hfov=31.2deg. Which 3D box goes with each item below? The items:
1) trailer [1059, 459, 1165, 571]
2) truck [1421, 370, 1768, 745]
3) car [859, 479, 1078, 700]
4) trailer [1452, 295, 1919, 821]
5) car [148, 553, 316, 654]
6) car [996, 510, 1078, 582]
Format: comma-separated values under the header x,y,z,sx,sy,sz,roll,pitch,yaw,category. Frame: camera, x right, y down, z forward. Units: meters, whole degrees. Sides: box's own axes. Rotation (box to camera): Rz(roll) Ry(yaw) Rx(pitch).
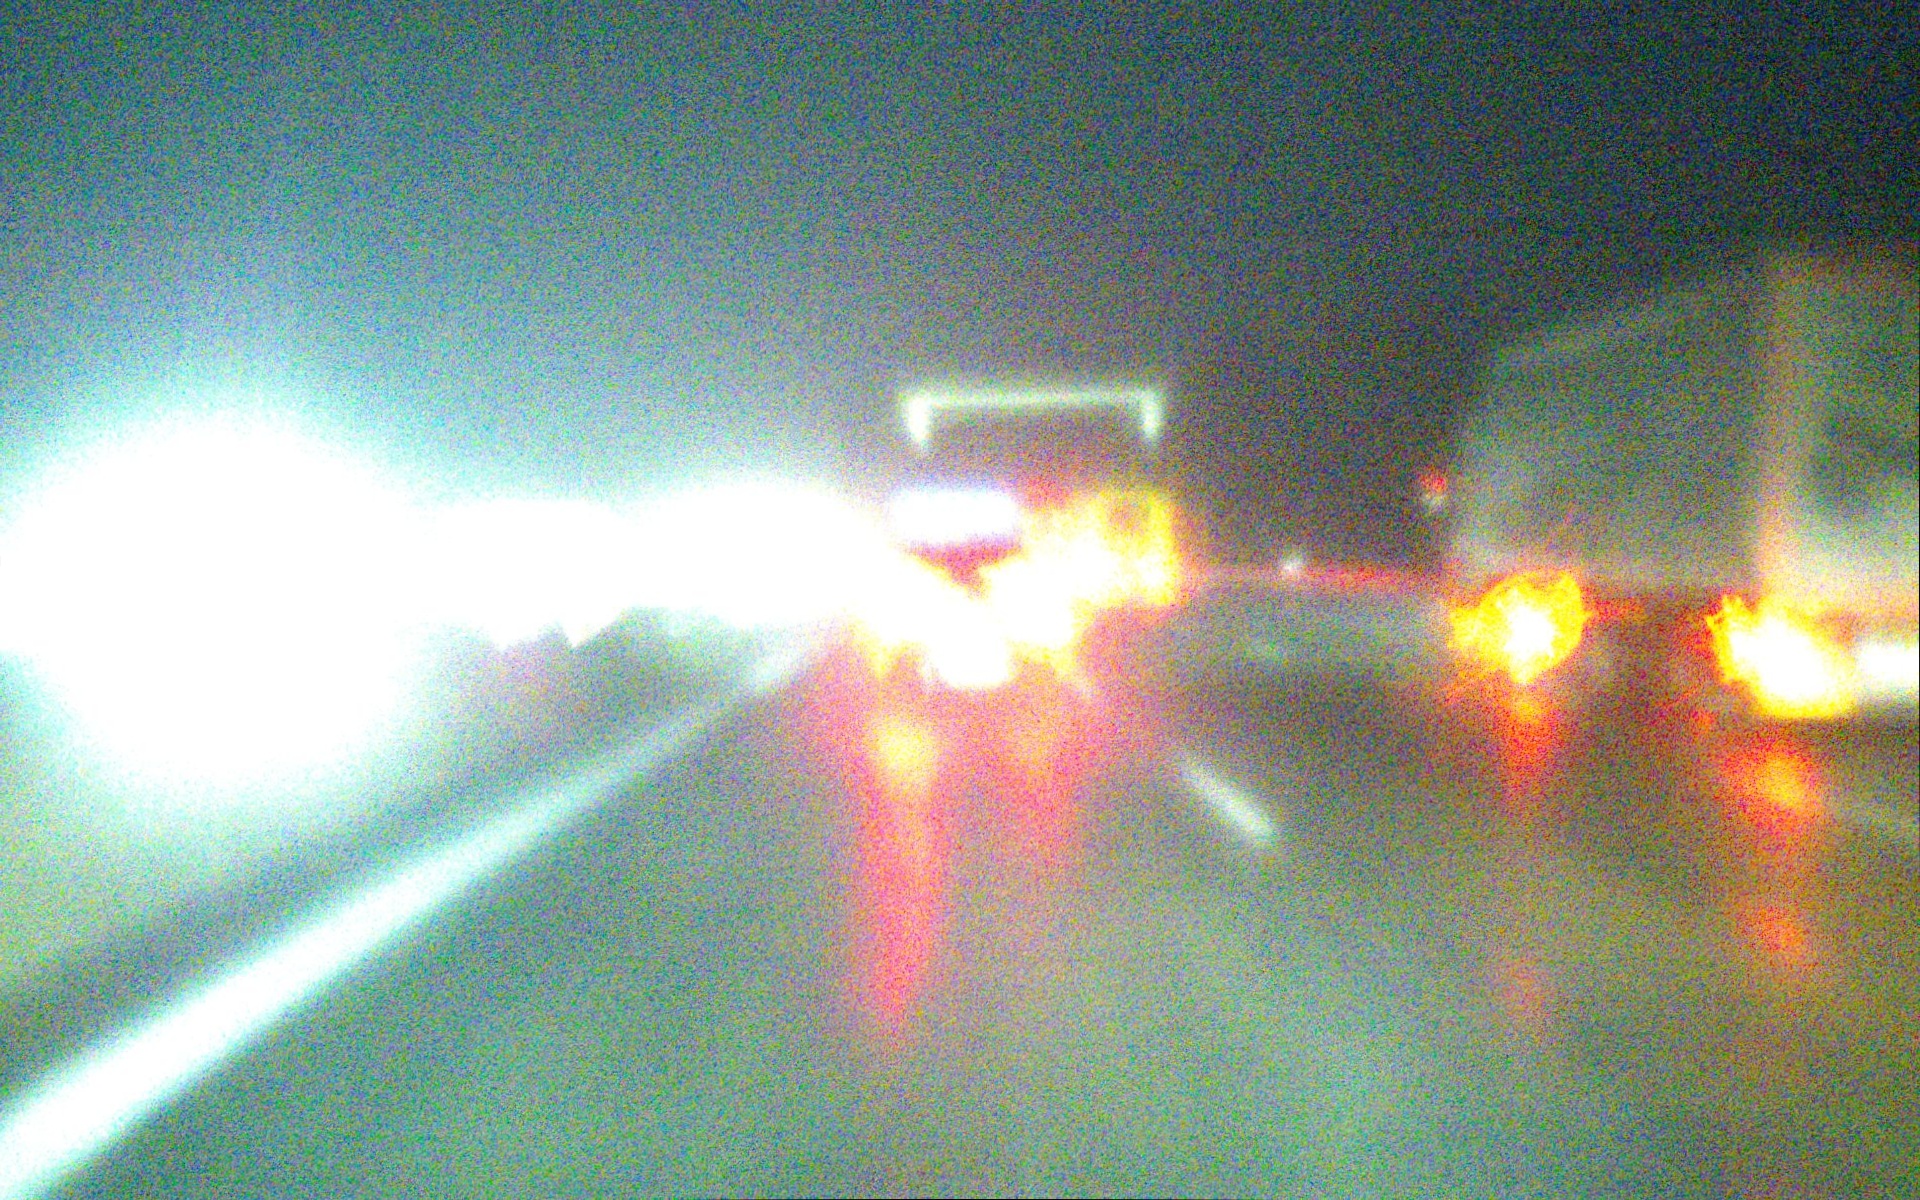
x,y,z,sx,sy,sz,roll,pitch,yaw,category
5.959,-3.274,137.441,3.041,4.094,13.829,-2,0,-2,trailer
7.446,-0.512,41.165,2.903,4.094,6.031,-1,1,0,truck
0.082,-0.099,34.044,1.993,2.007,4.000,1,0,0,car
7.500,-0.454,34.262,2.903,4.094,14.488,-1,1,0,trailer
-13.540,0.029,64.263,1.993,1.733,5.236,2,1,0,car
2.257,-1.579,101.748,1.993,2.007,4.000,-2,0,-4,car
